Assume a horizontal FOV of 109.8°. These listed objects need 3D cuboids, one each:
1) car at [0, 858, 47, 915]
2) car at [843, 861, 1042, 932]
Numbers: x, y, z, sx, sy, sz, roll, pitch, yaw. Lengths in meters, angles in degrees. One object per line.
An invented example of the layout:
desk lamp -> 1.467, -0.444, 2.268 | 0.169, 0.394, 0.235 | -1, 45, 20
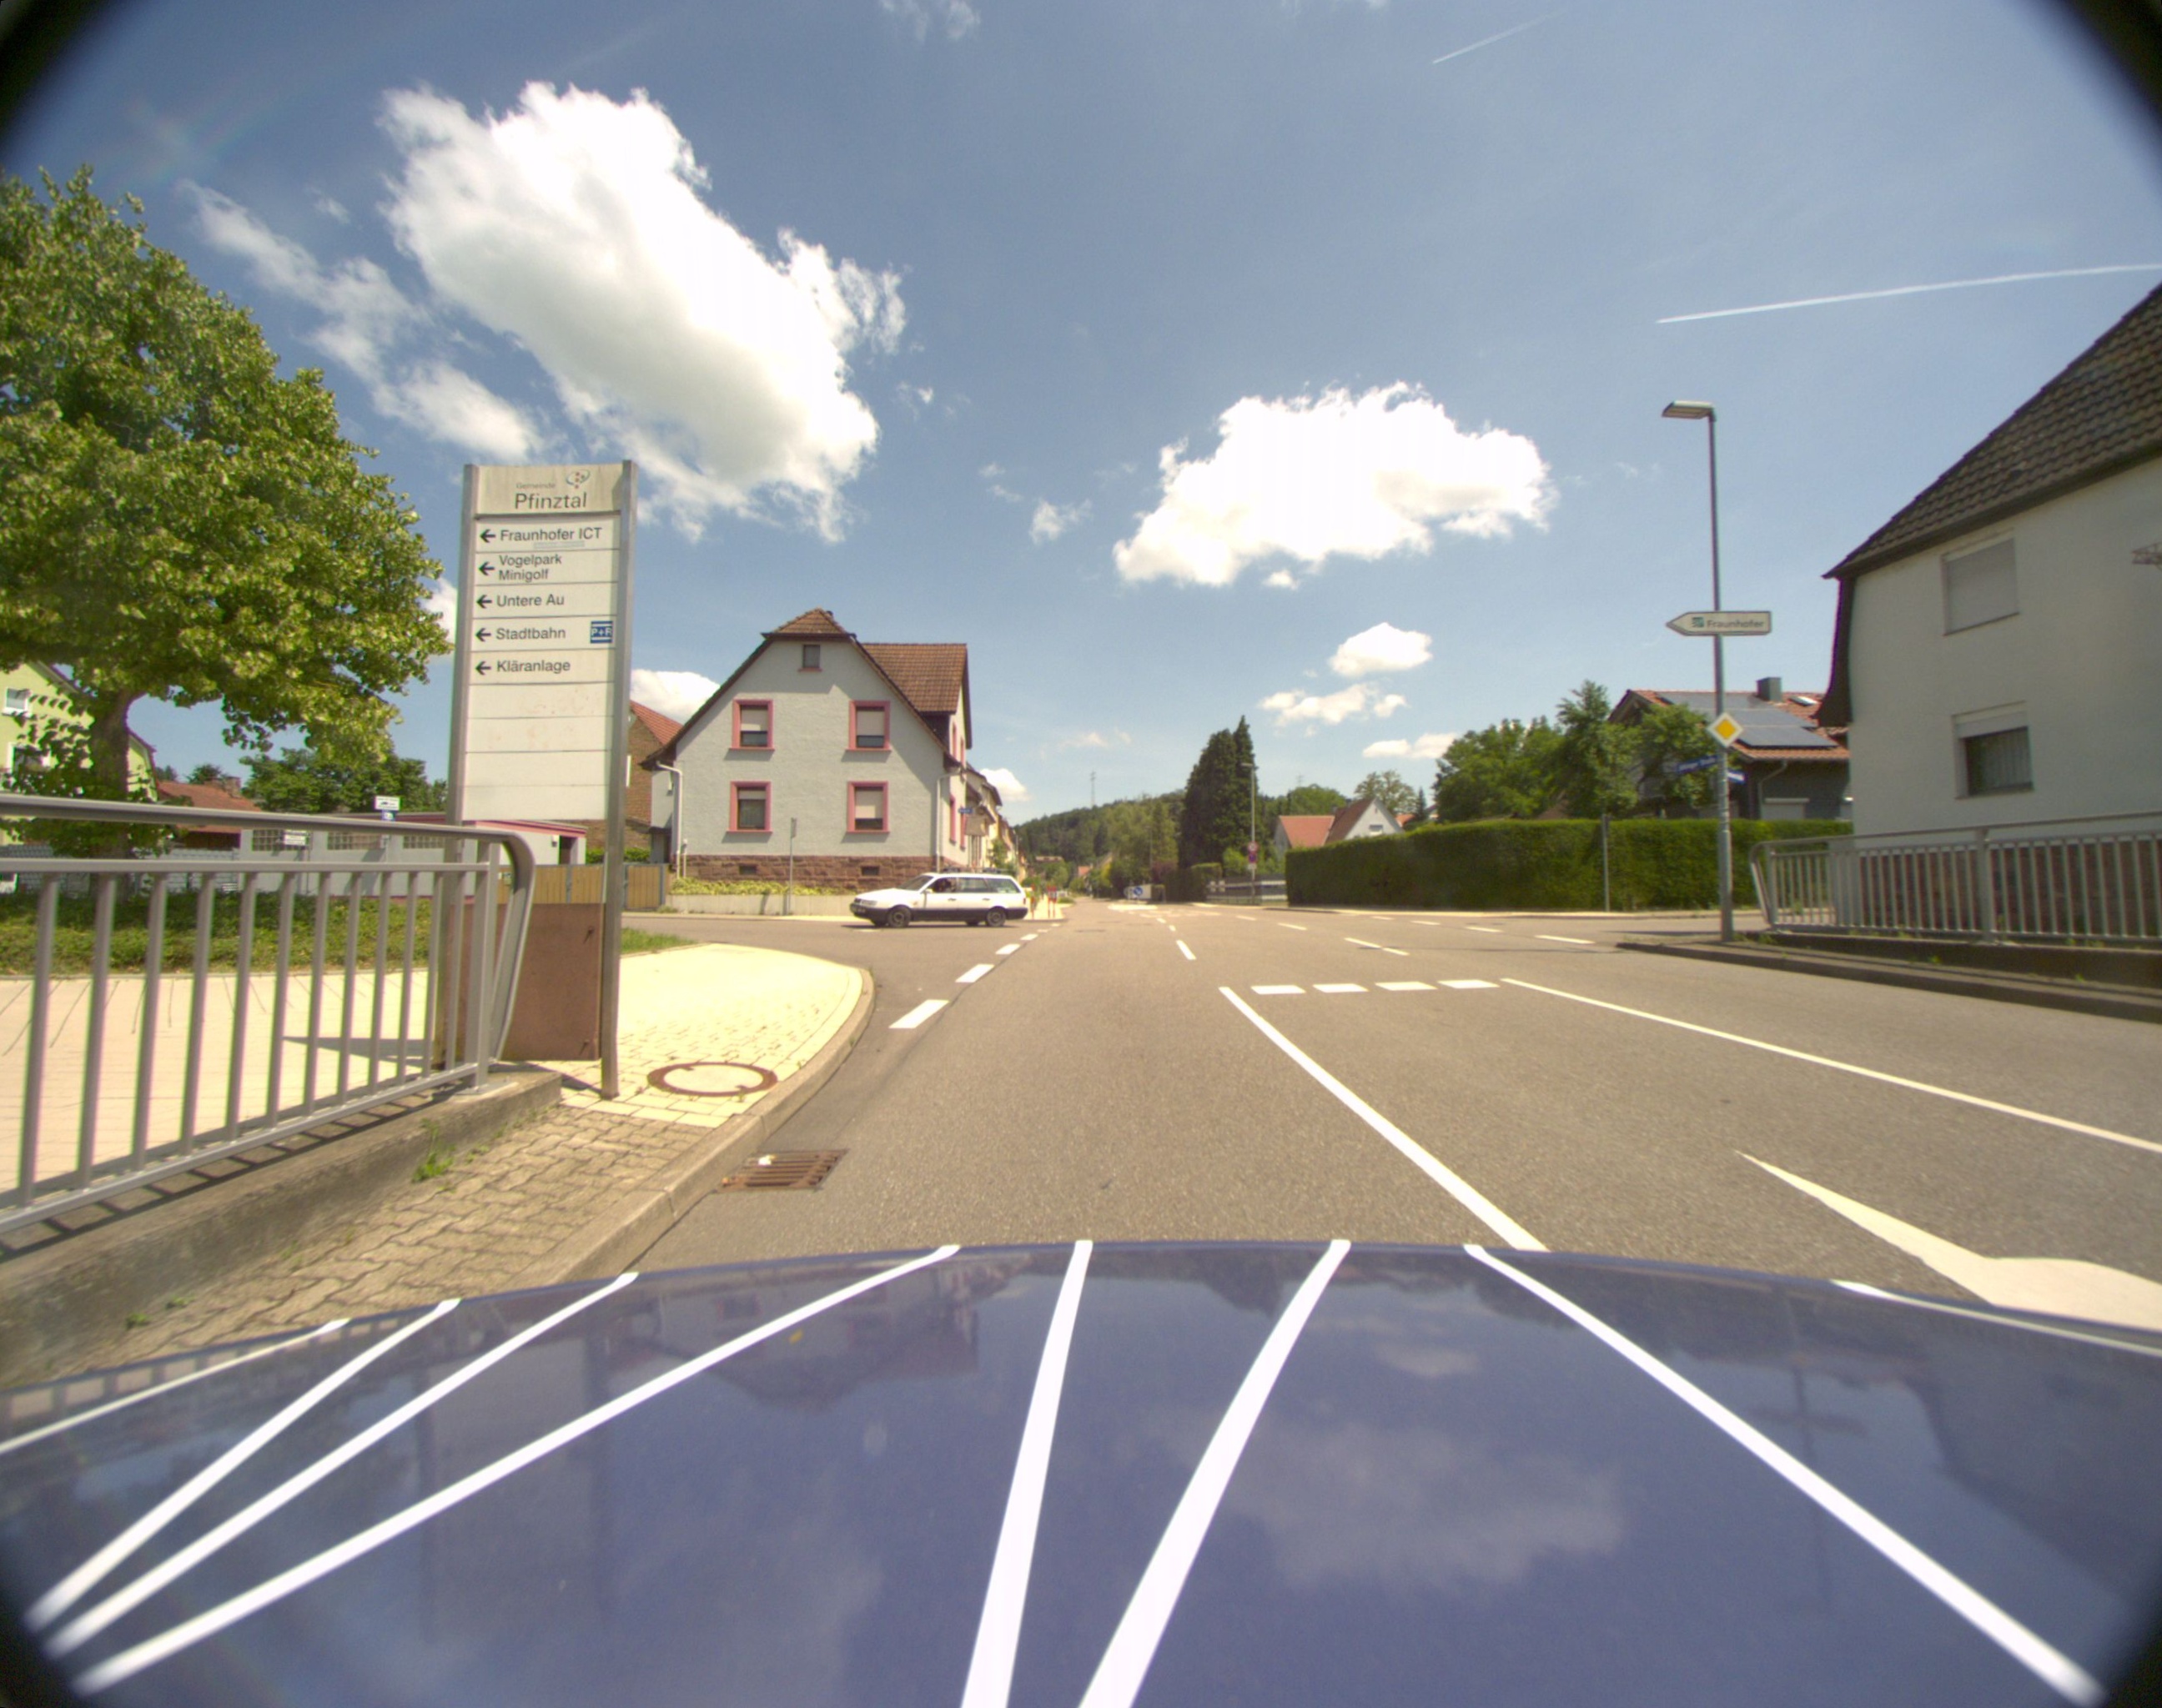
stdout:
car -> -36.400, 1.084, 24.569 | 3.995, 1.816, 1.645 | -1, -2, 5
car -> -3.581, 1.088, 20.010 | 4.840, 1.632, 1.679 | 0, -4, -31
